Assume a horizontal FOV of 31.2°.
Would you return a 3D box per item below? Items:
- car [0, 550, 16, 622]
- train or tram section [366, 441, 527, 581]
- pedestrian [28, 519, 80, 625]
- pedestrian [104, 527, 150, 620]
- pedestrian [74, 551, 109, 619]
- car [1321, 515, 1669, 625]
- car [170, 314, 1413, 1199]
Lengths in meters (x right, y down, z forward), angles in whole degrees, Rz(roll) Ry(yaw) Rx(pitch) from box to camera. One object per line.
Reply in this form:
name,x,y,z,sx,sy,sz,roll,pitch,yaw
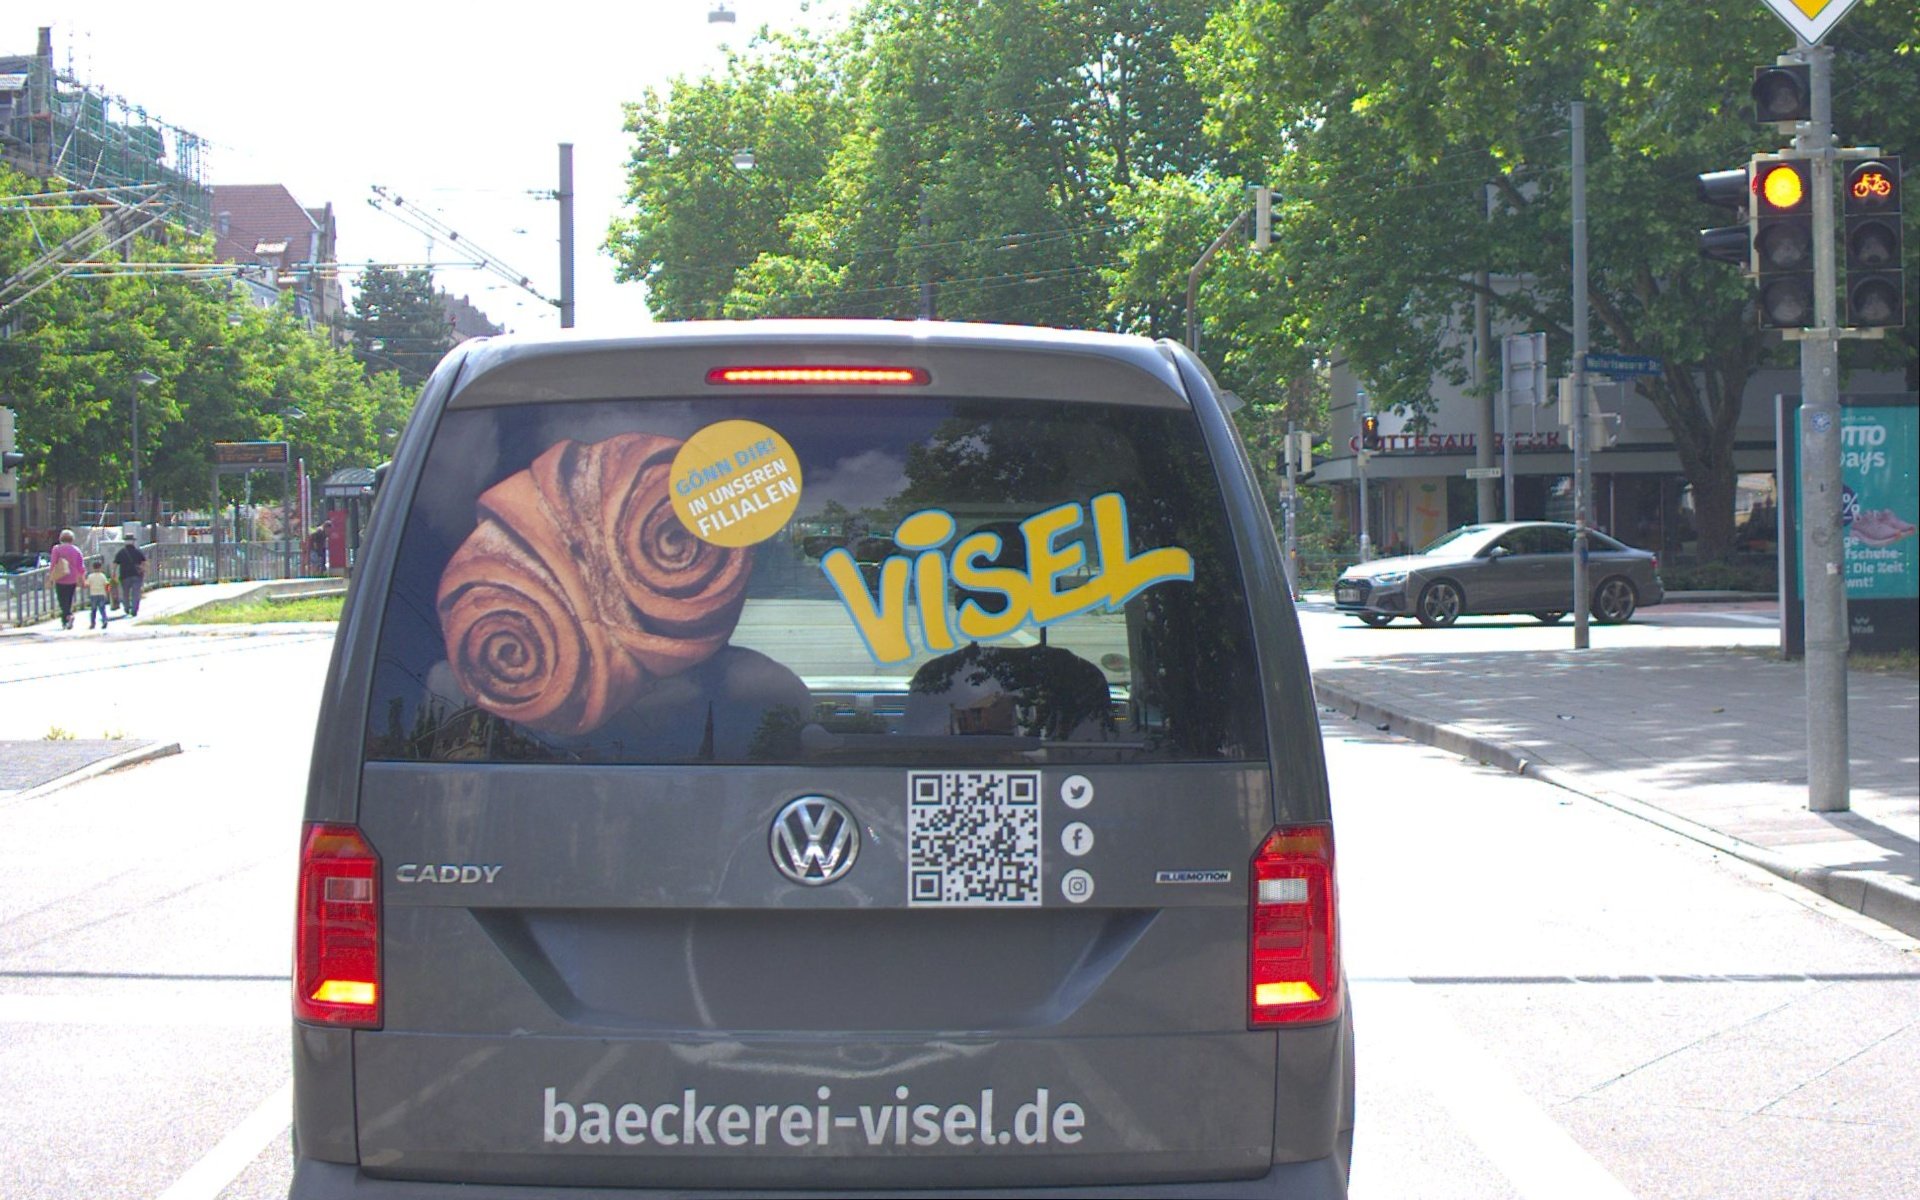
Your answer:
car,-27.829,-0.365,95.663,1.993,2.007,4.000,-1,1,0
train or tram section,-13.201,-2.290,89.377,2.240,3.320,12.972,-1,1,0
pedestrian,-15.368,-0.484,58.331,0.659,1.778,0.660,-1,1,0
pedestrian,-15.291,-0.487,63.104,0.659,1.679,0.655,-1,1,0
pedestrian,-14.731,-0.253,58.313,0.463,1.140,0.435,-1,1,0
car,7.336,-0.428,47.132,4.480,1.385,1.707,-2,1,-24
car,-0.250,0.463,6.604,1.750,1.802,3.475,0,1,0
